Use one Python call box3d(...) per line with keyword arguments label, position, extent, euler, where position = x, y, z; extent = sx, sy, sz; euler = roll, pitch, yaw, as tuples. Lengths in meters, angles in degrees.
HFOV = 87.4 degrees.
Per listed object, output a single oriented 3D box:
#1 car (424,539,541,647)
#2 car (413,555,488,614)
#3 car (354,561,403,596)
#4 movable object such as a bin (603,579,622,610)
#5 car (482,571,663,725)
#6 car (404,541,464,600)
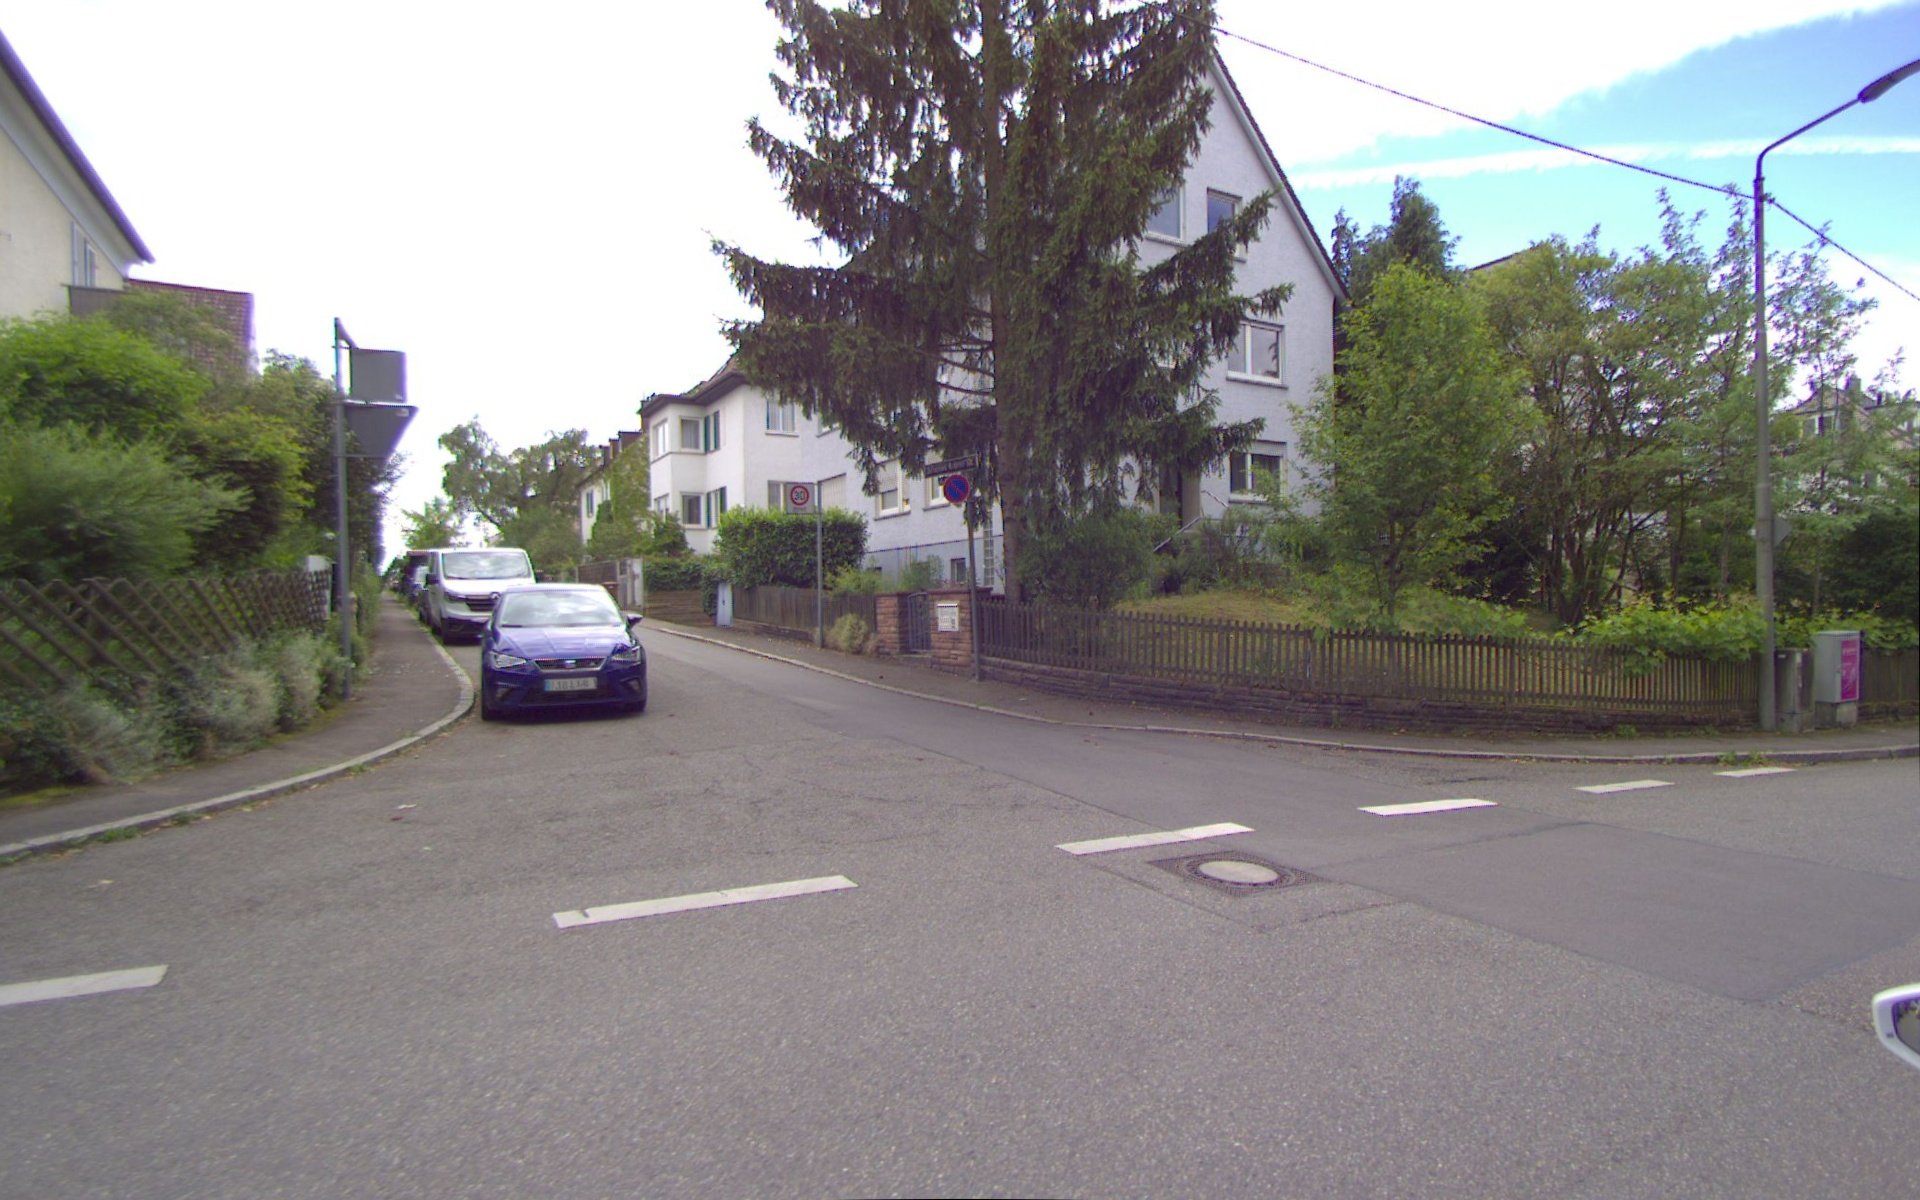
box3d(label="car", position=(-10.490, -0.239, 21.870), extent=(1.906, 2.025, 4.895), euler=(-3, 4, -29))
box3d(label="car", position=(-16.289, -0.546, 32.033), extent=(1.906, 1.679, 4.083), euler=(-3, 4, -29))
box3d(label="car", position=(-31.522, -1.169, 54.403), extent=(1.823, 1.751, 3.958), euler=(2, -1, -37))
box3d(label="movable object such as a bin", position=(-11.829, -0.190, 34.184), extent=(0.510, 1.001, 0.414), euler=(1, 1, -30))
box3d(label="car", position=(-4.895, 0.448, 12.360), extent=(1.699, 1.503, 3.972), euler=(1, 2, -27))
box3d(label="car", position=(-20.720, -1.182, 39.513), extent=(1.906, 2.162, 4.083), euler=(-3, 4, -29))
